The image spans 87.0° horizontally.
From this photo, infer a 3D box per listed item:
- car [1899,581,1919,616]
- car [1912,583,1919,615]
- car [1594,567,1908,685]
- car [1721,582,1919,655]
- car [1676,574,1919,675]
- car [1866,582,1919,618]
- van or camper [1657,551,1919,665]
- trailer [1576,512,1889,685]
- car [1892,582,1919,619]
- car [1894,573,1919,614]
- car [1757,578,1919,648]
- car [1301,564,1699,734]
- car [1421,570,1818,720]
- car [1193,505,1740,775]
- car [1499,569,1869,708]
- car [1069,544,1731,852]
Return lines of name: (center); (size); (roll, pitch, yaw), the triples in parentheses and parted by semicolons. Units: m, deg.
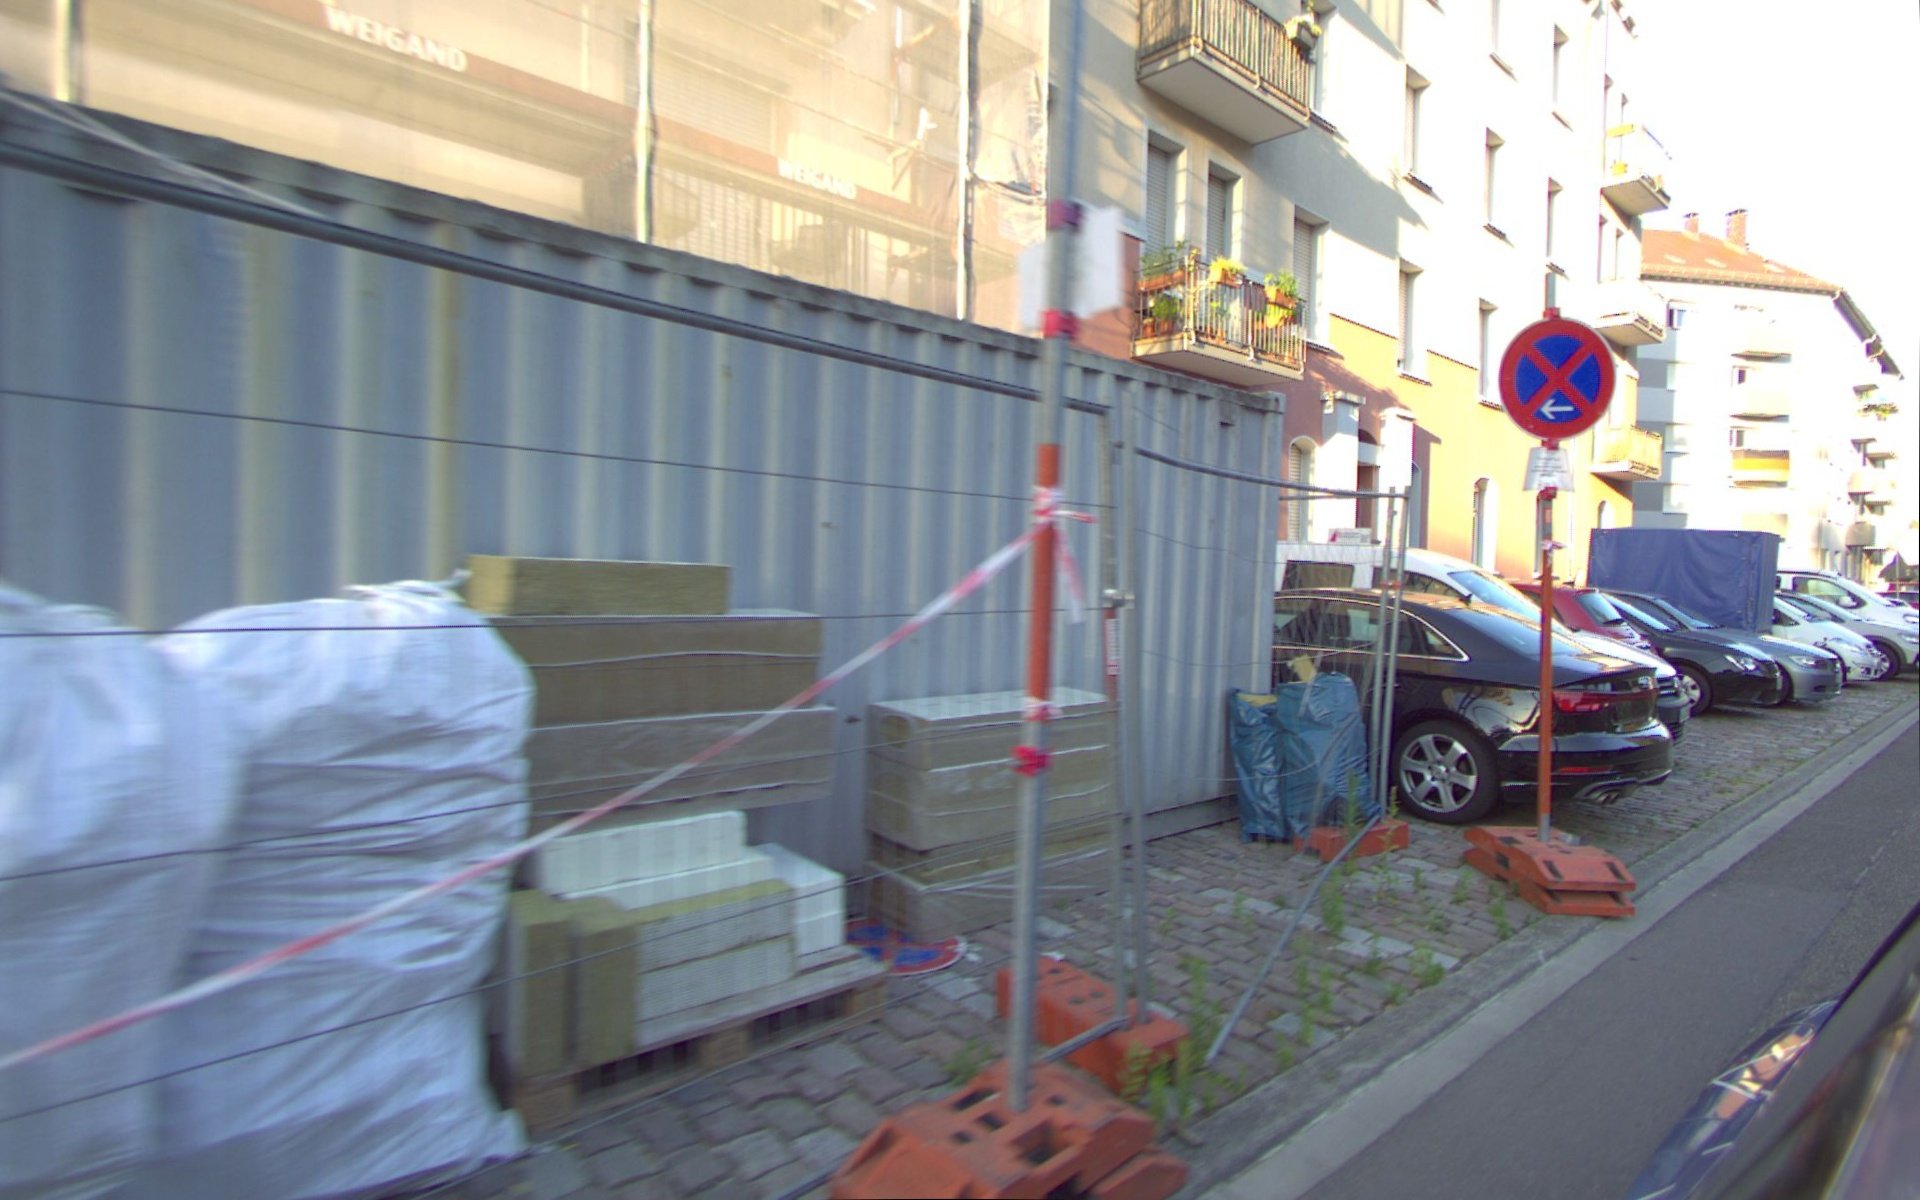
car: (47.005, -0.040, 47.655); (1.755, 1.649, 3.991); (0, 2, -43)
car: (51.103, 0.010, 51.181); (1.962, 1.660, 4.001); (0, 1, -34)
car: (13.466, 0.327, 17.391); (1.967, 1.749, 3.992); (-2, 3, -43)
car: (20.694, 0.375, 23.949); (1.966, 1.549, 3.992); (0, 2, -43)
car: (15.822, 0.373, 18.628); (1.967, 1.660, 3.992); (-1, 2, -43)
car: (43.038, 0.017, 44.694); (1.889, 1.560, 4.310); (0, 2, -40)
van or camper: (17.479, 0.096, 20.819); (2.006, 2.122, 4.841); (0, 2, -42)
trailer: (12.030, -0.134, 15.901); (1.909, 2.365, 3.571); (0, 4, -44)
car: (45.219, 0.066, 46.055); (1.966, 1.682, 3.992); (0, 2, -43)
car: (49.116, -0.296, 49.585); (1.965, 2.025, 4.683); (0, 2, -40)
car: (22.649, 0.293, 25.283); (1.824, 1.605, 4.105); (0, 2, -44)
car: (6.088, 0.415, 11.685); (1.716, 1.630, 3.696); (0, 2, -43)
car: (8.288, 0.438, 12.968); (1.759, 1.591, 3.967); (0, 2, -44)
car: (4.625, 0.170, 9.719); (4.269, 2.004, 1.792); (6, 3, 44)
car: (10.107, 0.415, 14.327); (1.872, 1.658, 3.990); (0, 2, -44)
car: (2.960, 0.458, 7.577); (1.838, 1.635, 4.163); (0, 2, -39)
